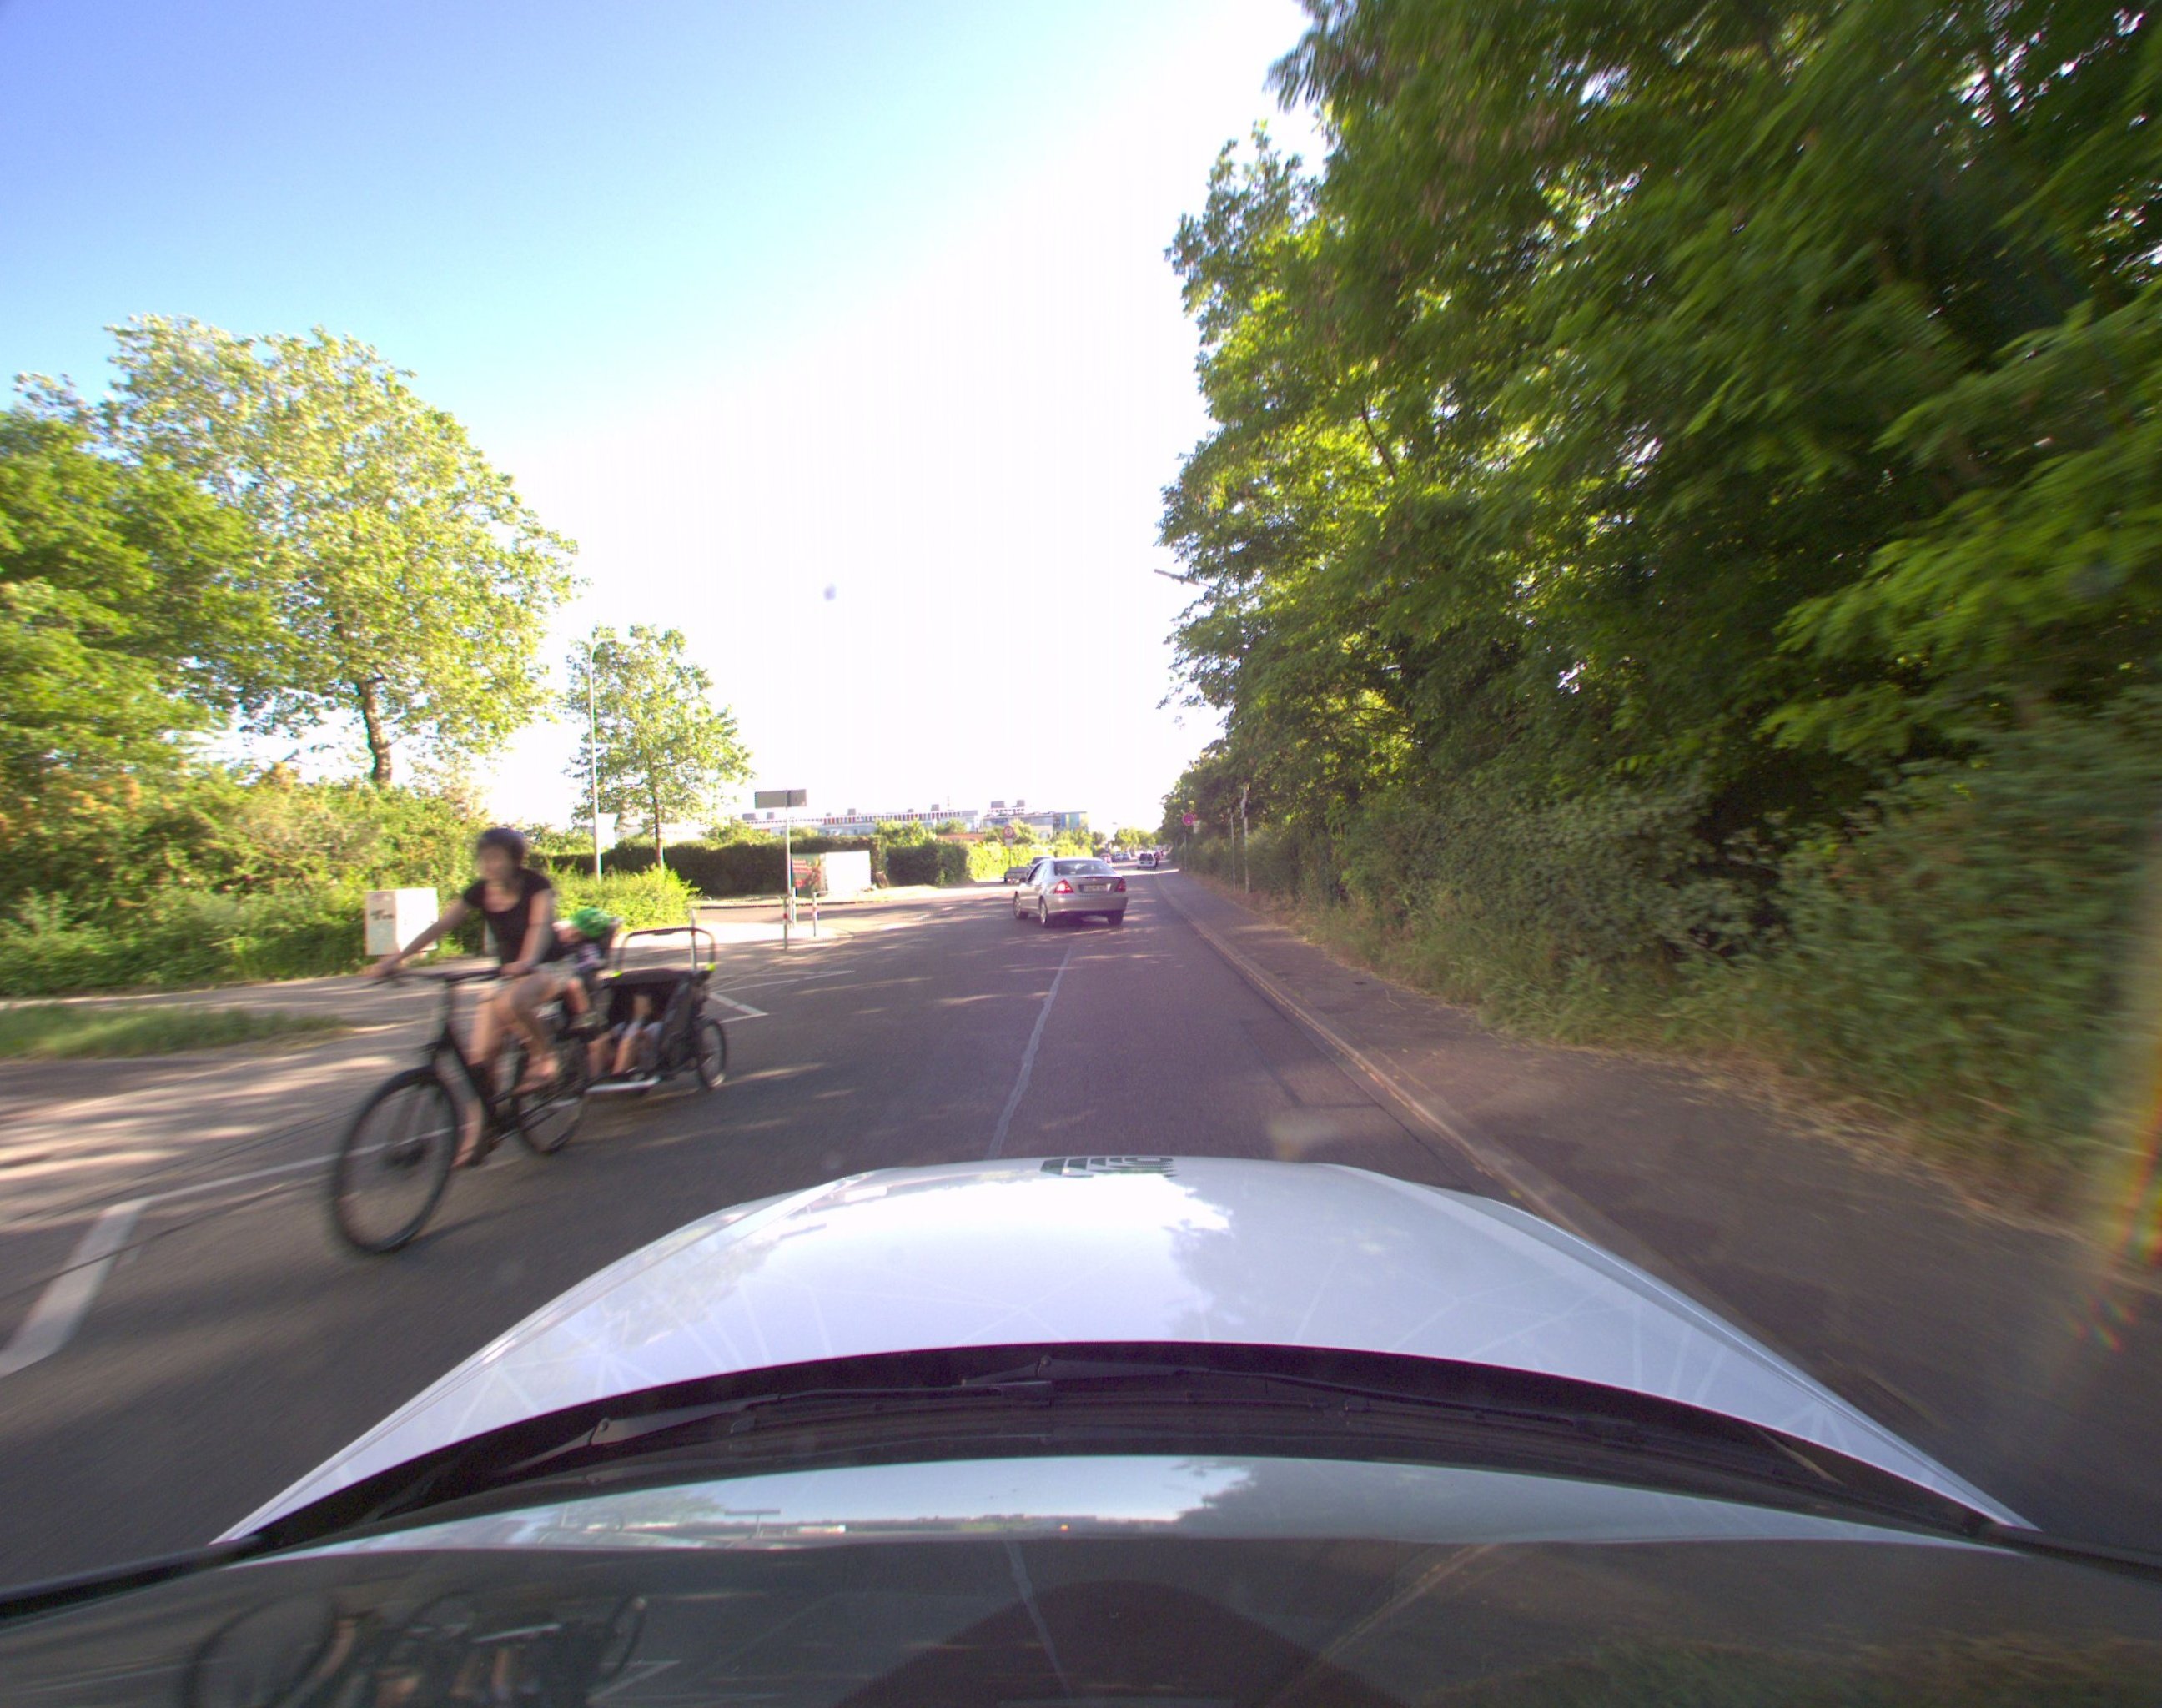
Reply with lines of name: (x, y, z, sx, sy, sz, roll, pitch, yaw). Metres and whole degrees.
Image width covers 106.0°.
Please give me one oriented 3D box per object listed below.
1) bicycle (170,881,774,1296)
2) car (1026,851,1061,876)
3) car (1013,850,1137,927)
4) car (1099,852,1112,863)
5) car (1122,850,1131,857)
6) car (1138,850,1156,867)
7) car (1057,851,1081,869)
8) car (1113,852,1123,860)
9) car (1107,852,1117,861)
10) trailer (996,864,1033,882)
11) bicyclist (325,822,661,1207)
bicycle: (-2.860, 0.919, 4.617, 0.848, 1.370, 3.221, -4, 0, 2)
car: (-2.555, 0.620, 56.607, 1.634, 1.600, 4.320, -1, 0, 7)
car: (-0.268, 0.689, 18.024, 1.741, 1.453, 3.978, -2, 0, -16)
car: (3.672, 0.503, 121.094, 1.552, 1.494, 3.576, -3, 0, 5)
car: (10.357, -0.152, 185.559, 1.845, 1.428, 4.140, -1, 0, 5)
car: (6.051, 0.392, 74.029, 1.548, 1.538, 3.561, -1, 0, 6)
car: (-1.054, 0.532, 73.810, 1.635, 1.556, 4.424, -3, 0, 5)
car: (7.102, 0.387, 156.338, 1.552, 1.494, 3.764, -3, 0, 5)
car: (5.358, 0.493, 139.353, 1.552, 1.495, 3.576, 0, 0, 5)
trailer: (-3.787, 1.062, 46.678, 1.535, 0.953, 2.653, -1, 0, 8)
bicyclist: (-2.868, 0.706, 4.122, 0.841, 1.658, 1.065, -3, 0, 1)
